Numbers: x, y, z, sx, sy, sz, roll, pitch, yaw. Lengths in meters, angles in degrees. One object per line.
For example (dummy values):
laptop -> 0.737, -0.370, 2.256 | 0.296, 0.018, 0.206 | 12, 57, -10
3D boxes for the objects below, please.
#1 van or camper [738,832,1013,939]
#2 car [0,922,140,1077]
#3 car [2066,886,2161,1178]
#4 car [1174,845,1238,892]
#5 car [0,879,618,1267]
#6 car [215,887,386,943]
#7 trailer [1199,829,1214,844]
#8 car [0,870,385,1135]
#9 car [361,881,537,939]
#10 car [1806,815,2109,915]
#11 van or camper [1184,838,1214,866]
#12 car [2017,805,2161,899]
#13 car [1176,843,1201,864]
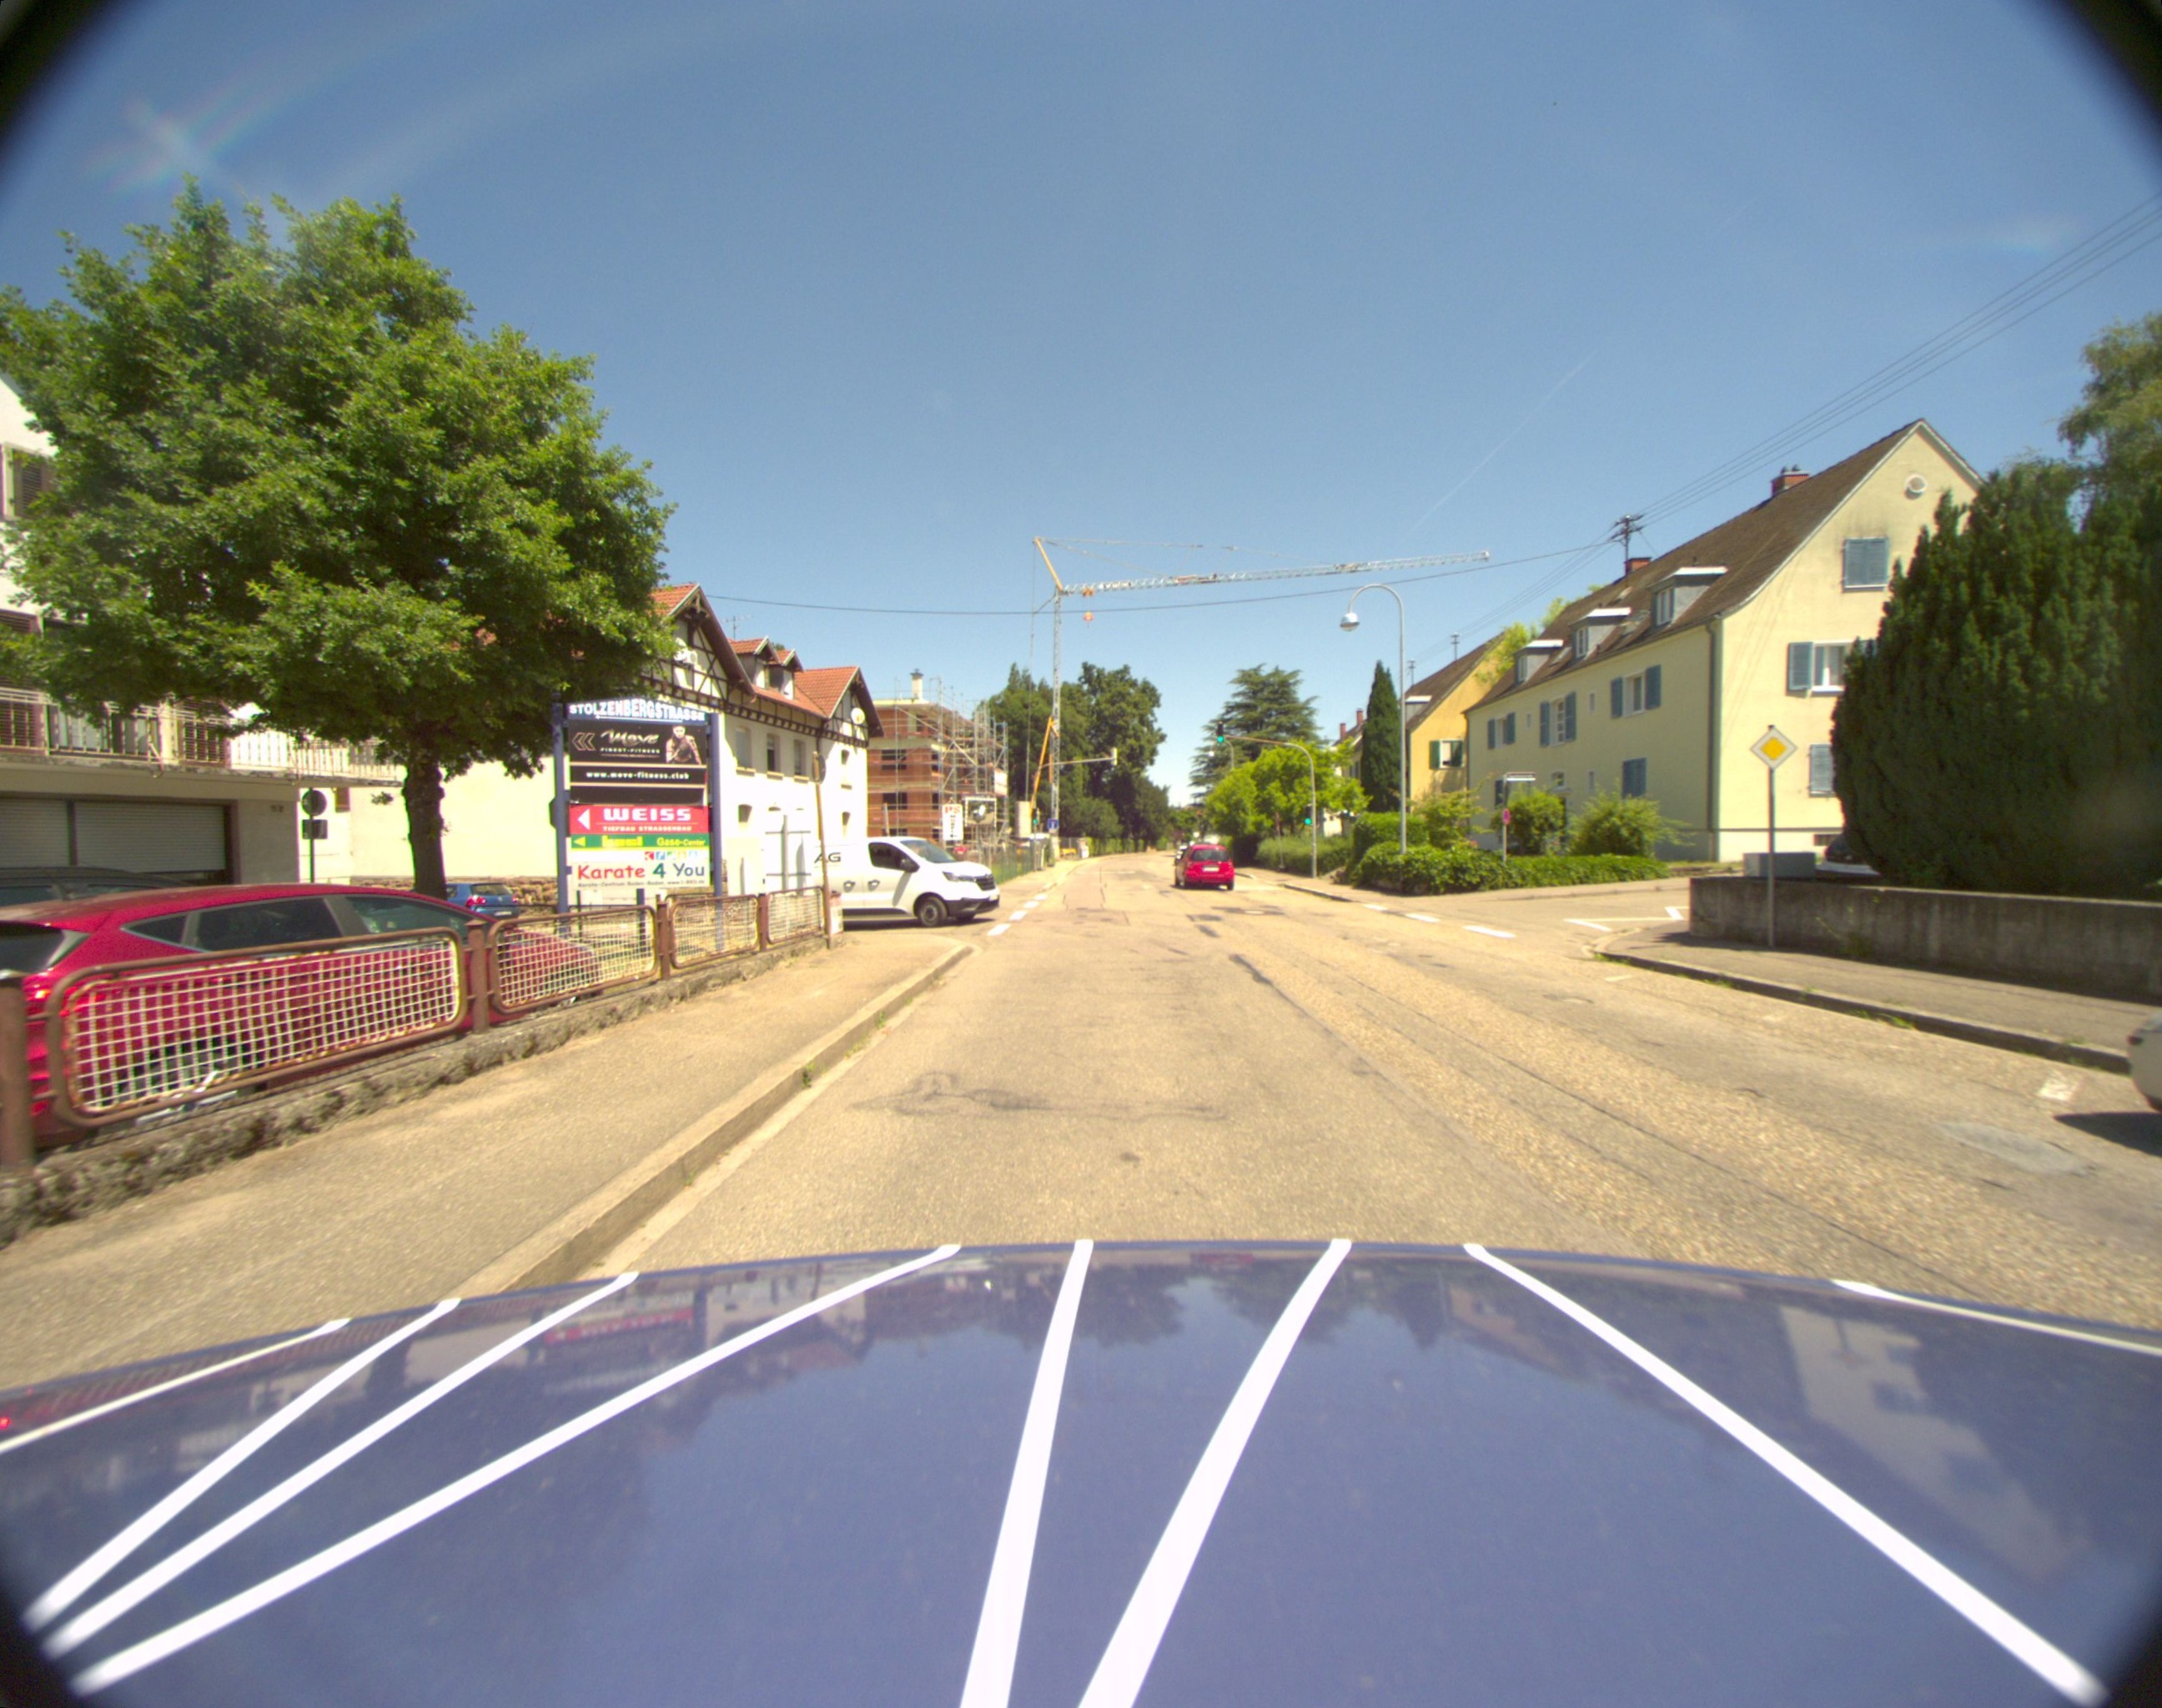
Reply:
van or camper -> -4.406, 0.665, 16.585 | 5.353, 1.968, 2.001 | -3, 3, 12
car -> -10.444, 1.353, 5.973 | 1.715, 1.263, 3.386 | -1, 1, 8
car -> 6.302, 0.945, 2.184 | 1.764, 1.439, 3.923 | 1, 1, -1
car -> 4.487, 0.461, 27.795 | 1.818, 1.557, 3.696 | 1, 1, 1
car -> -5.380, 1.030, 5.184 | 1.715, 1.515, 3.841 | 0, 1, 8
car -> -23.930, 1.865, 23.361 | 3.623, 1.435, 1.817 | -2, 1, 8
trailer -> 17.474, -2.421, 105.412 | 1.817, 2.022, 4.003 | 2, 2, 12
car -> -8.004, 1.060, 5.326 | 1.715, 1.656, 4.461 | -2, 1, 8
car -> -18.675, 1.642, 22.548 | 3.891, 1.435, 1.817 | -2, 1, 8
car -> 15.586, 0.165, 13.693 | 3.208, 1.448, 1.735 | -4, 2, 8
van or camper -> 7.890, -0.174, 51.132 | 1.684, 1.794, 3.986 | 1, 2, 5
car -> 19.711, -0.125, 13.537 | 3.588, 1.448, 1.749 | -4, 2, 8
car -> 7.964, -0.050, 56.322 | 1.684, 1.433, 4.248 | 1, 1, 6
